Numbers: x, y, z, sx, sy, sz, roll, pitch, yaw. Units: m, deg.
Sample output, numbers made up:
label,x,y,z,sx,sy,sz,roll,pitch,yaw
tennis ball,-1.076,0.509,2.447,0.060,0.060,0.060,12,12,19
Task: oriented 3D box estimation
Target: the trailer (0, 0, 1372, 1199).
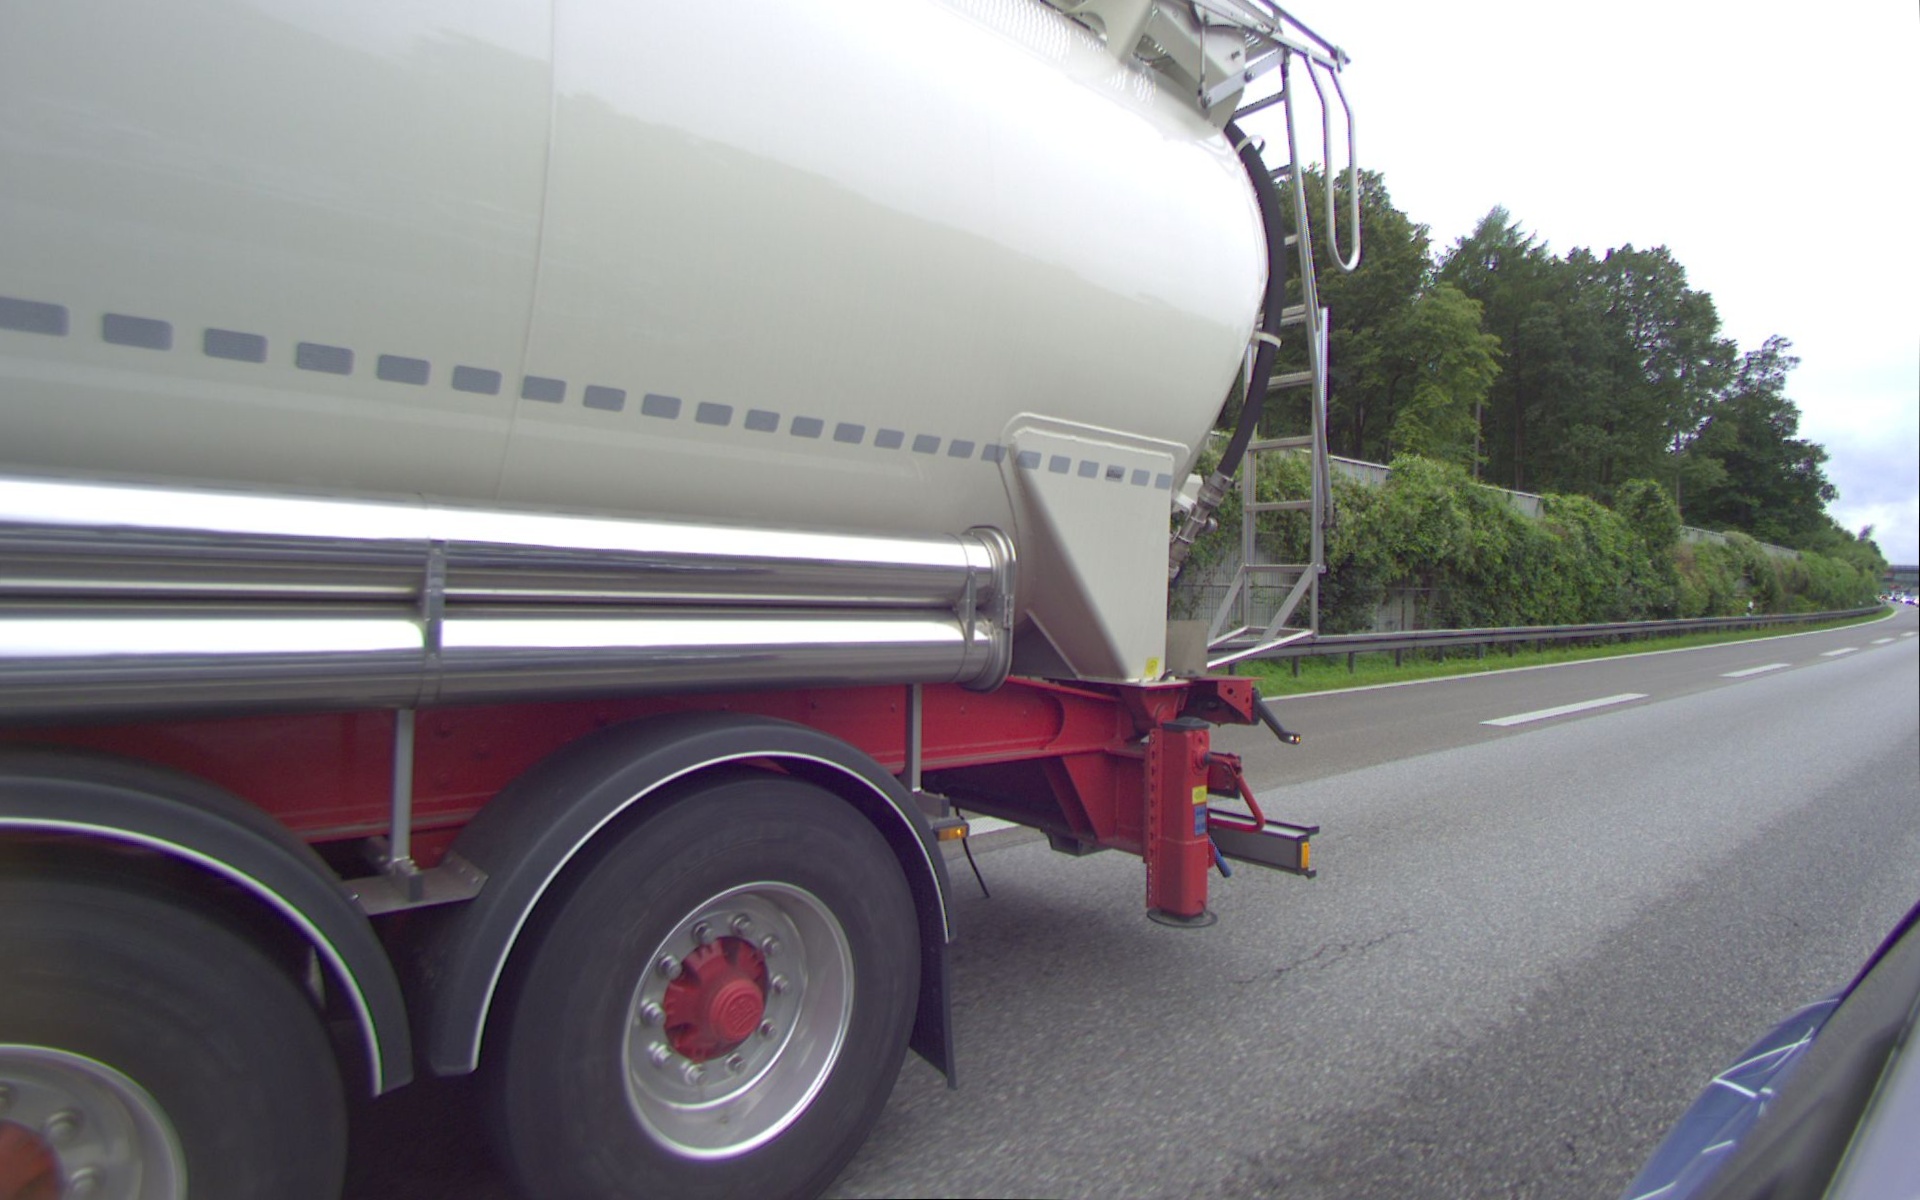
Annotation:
label,x,y,z,sx,sy,sz,roll,pitch,yaw
trailer,-4.124,-0.580,0.677,12.902,3.988,2.673,0,1,-41
